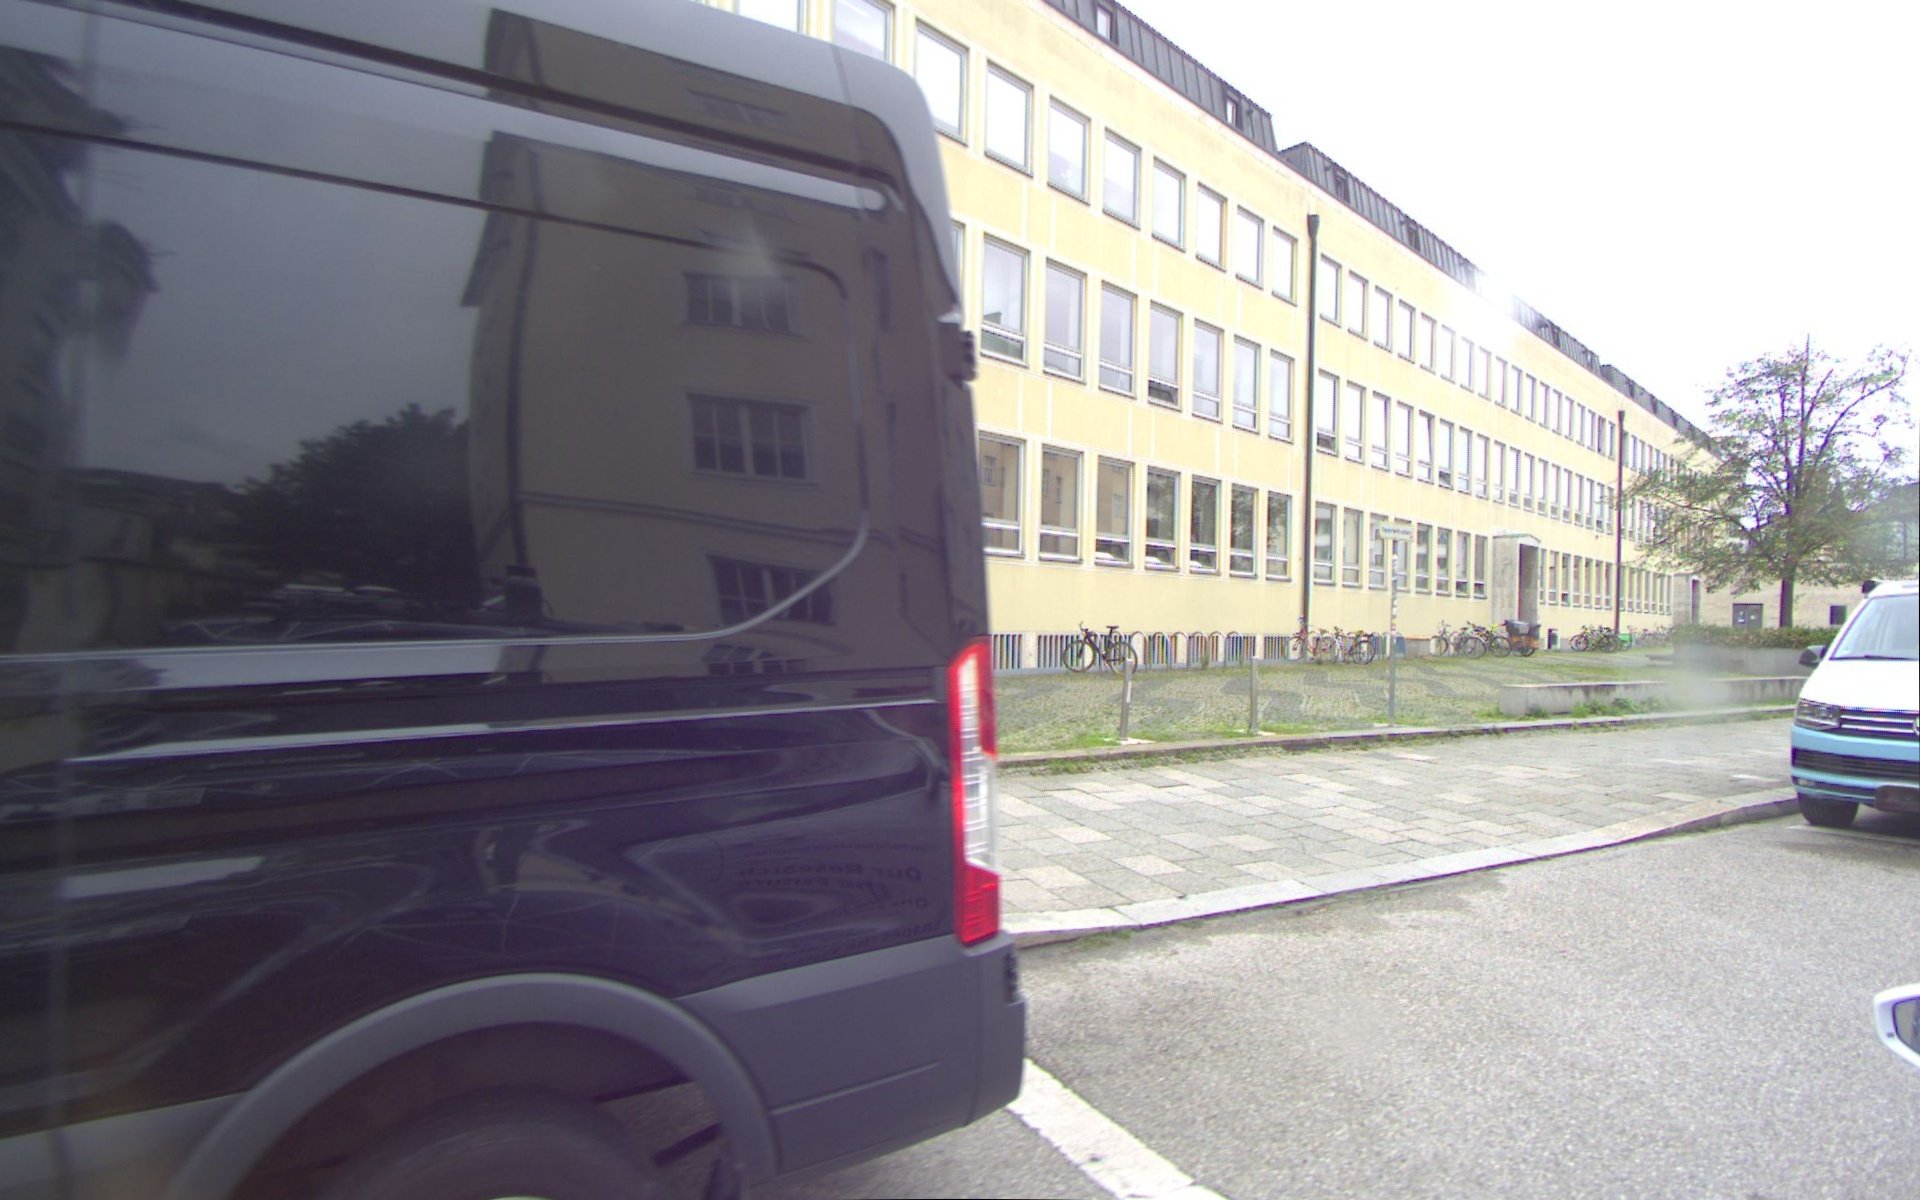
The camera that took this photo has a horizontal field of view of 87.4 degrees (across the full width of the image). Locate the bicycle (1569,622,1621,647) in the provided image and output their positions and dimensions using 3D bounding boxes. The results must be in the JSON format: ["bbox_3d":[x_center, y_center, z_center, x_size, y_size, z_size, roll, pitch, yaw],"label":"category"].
[{"bbox_3d":[27.486,1.485,43.475,1.837,0.957,0.412,3,2,42],"label":"bicycle"}]

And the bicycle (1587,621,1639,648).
[{"bbox_3d":[29.518,1.541,45.419,1.825,1.110,0.698,3,2,44],"label":"bicycle"}]

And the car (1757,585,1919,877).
[{"bbox_3d":[8.583,0.911,8.143,4.909,1.986,1.903,1,0,-34],"label":"car"}]

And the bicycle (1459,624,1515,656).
[{"bbox_3d":[17.848,1.350,34.035,1.586,0.957,0.500,3,2,42],"label":"bicycle"}]

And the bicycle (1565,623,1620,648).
[{"bbox_3d":[27.020,1.521,42.961,0.411,0.957,1.933,0,2,-42],"label":"bicycle"}]

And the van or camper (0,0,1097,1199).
[{"bbox_3d":[-2.654,0.410,1.777,5.492,2.686,2.284,1,-2,-29],"label":"van or camper"}]

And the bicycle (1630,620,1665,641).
[{"bbox_3d":[34.954,1.545,51.090,1.392,0.957,0.412,3,2,44],"label":"bicycle"}]

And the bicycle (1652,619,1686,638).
[{"bbox_3d":[38.869,1.555,55.110,1.455,0.957,0.412,3,2,44],"label":"bicycle"}]

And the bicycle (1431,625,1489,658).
[{"bbox_3d":[16.187,1.343,32.512,1.586,0.957,0.500,3,2,42],"label":"bicycle"}]

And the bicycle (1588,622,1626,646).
[{"bbox_3d":[28.523,1.480,44.296,1.388,0.957,0.413,2,2,36],"label":"bicycle"}]

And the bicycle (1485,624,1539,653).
[{"bbox_3d":[19.586,1.356,35.640,1.583,0.957,0.501,2,2,37],"label":"bicycle"}]

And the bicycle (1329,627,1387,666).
[{"bbox_3d":[10.702,1.230,27.022,0.411,0.957,1.394,0,2,-42],"label":"bicycle"}]

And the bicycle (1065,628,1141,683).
[{"bbox_3d":[2.734,1.047,19.255,1.387,0.957,0.413,2,1,32],"label":"bicycle"}]

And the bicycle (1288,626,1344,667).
[{"bbox_3d":[9.354,1.207,26.415,0.410,0.957,1.398,1,1,-33],"label":"bicycle"}]
